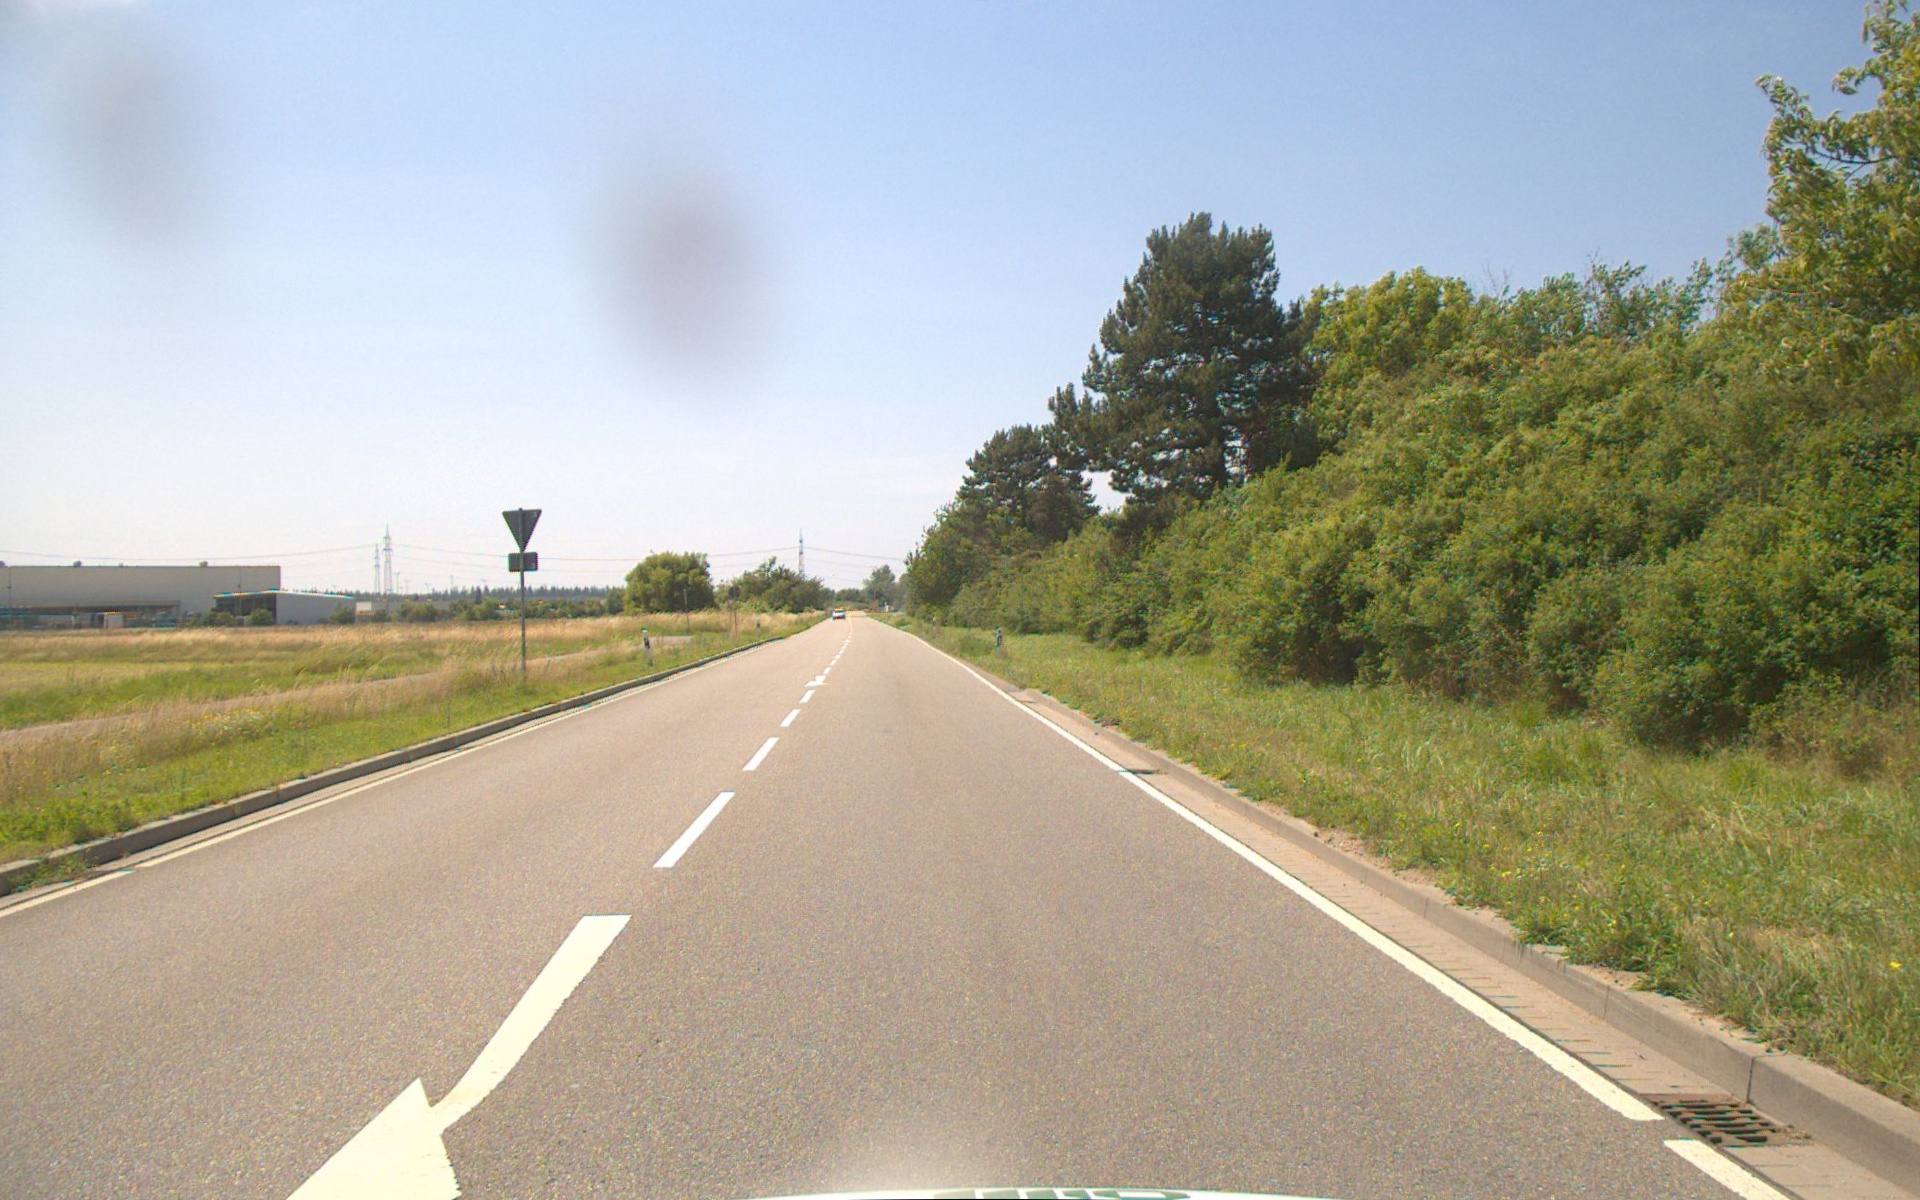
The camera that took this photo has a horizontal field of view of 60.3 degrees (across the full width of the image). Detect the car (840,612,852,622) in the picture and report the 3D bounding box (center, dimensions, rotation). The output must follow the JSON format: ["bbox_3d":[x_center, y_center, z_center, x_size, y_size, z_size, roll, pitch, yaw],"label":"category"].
[{"bbox_3d":[-16.437,2.445,238.533,1.645,1.445,4.418,-4,0,-4],"label":"car"}]
